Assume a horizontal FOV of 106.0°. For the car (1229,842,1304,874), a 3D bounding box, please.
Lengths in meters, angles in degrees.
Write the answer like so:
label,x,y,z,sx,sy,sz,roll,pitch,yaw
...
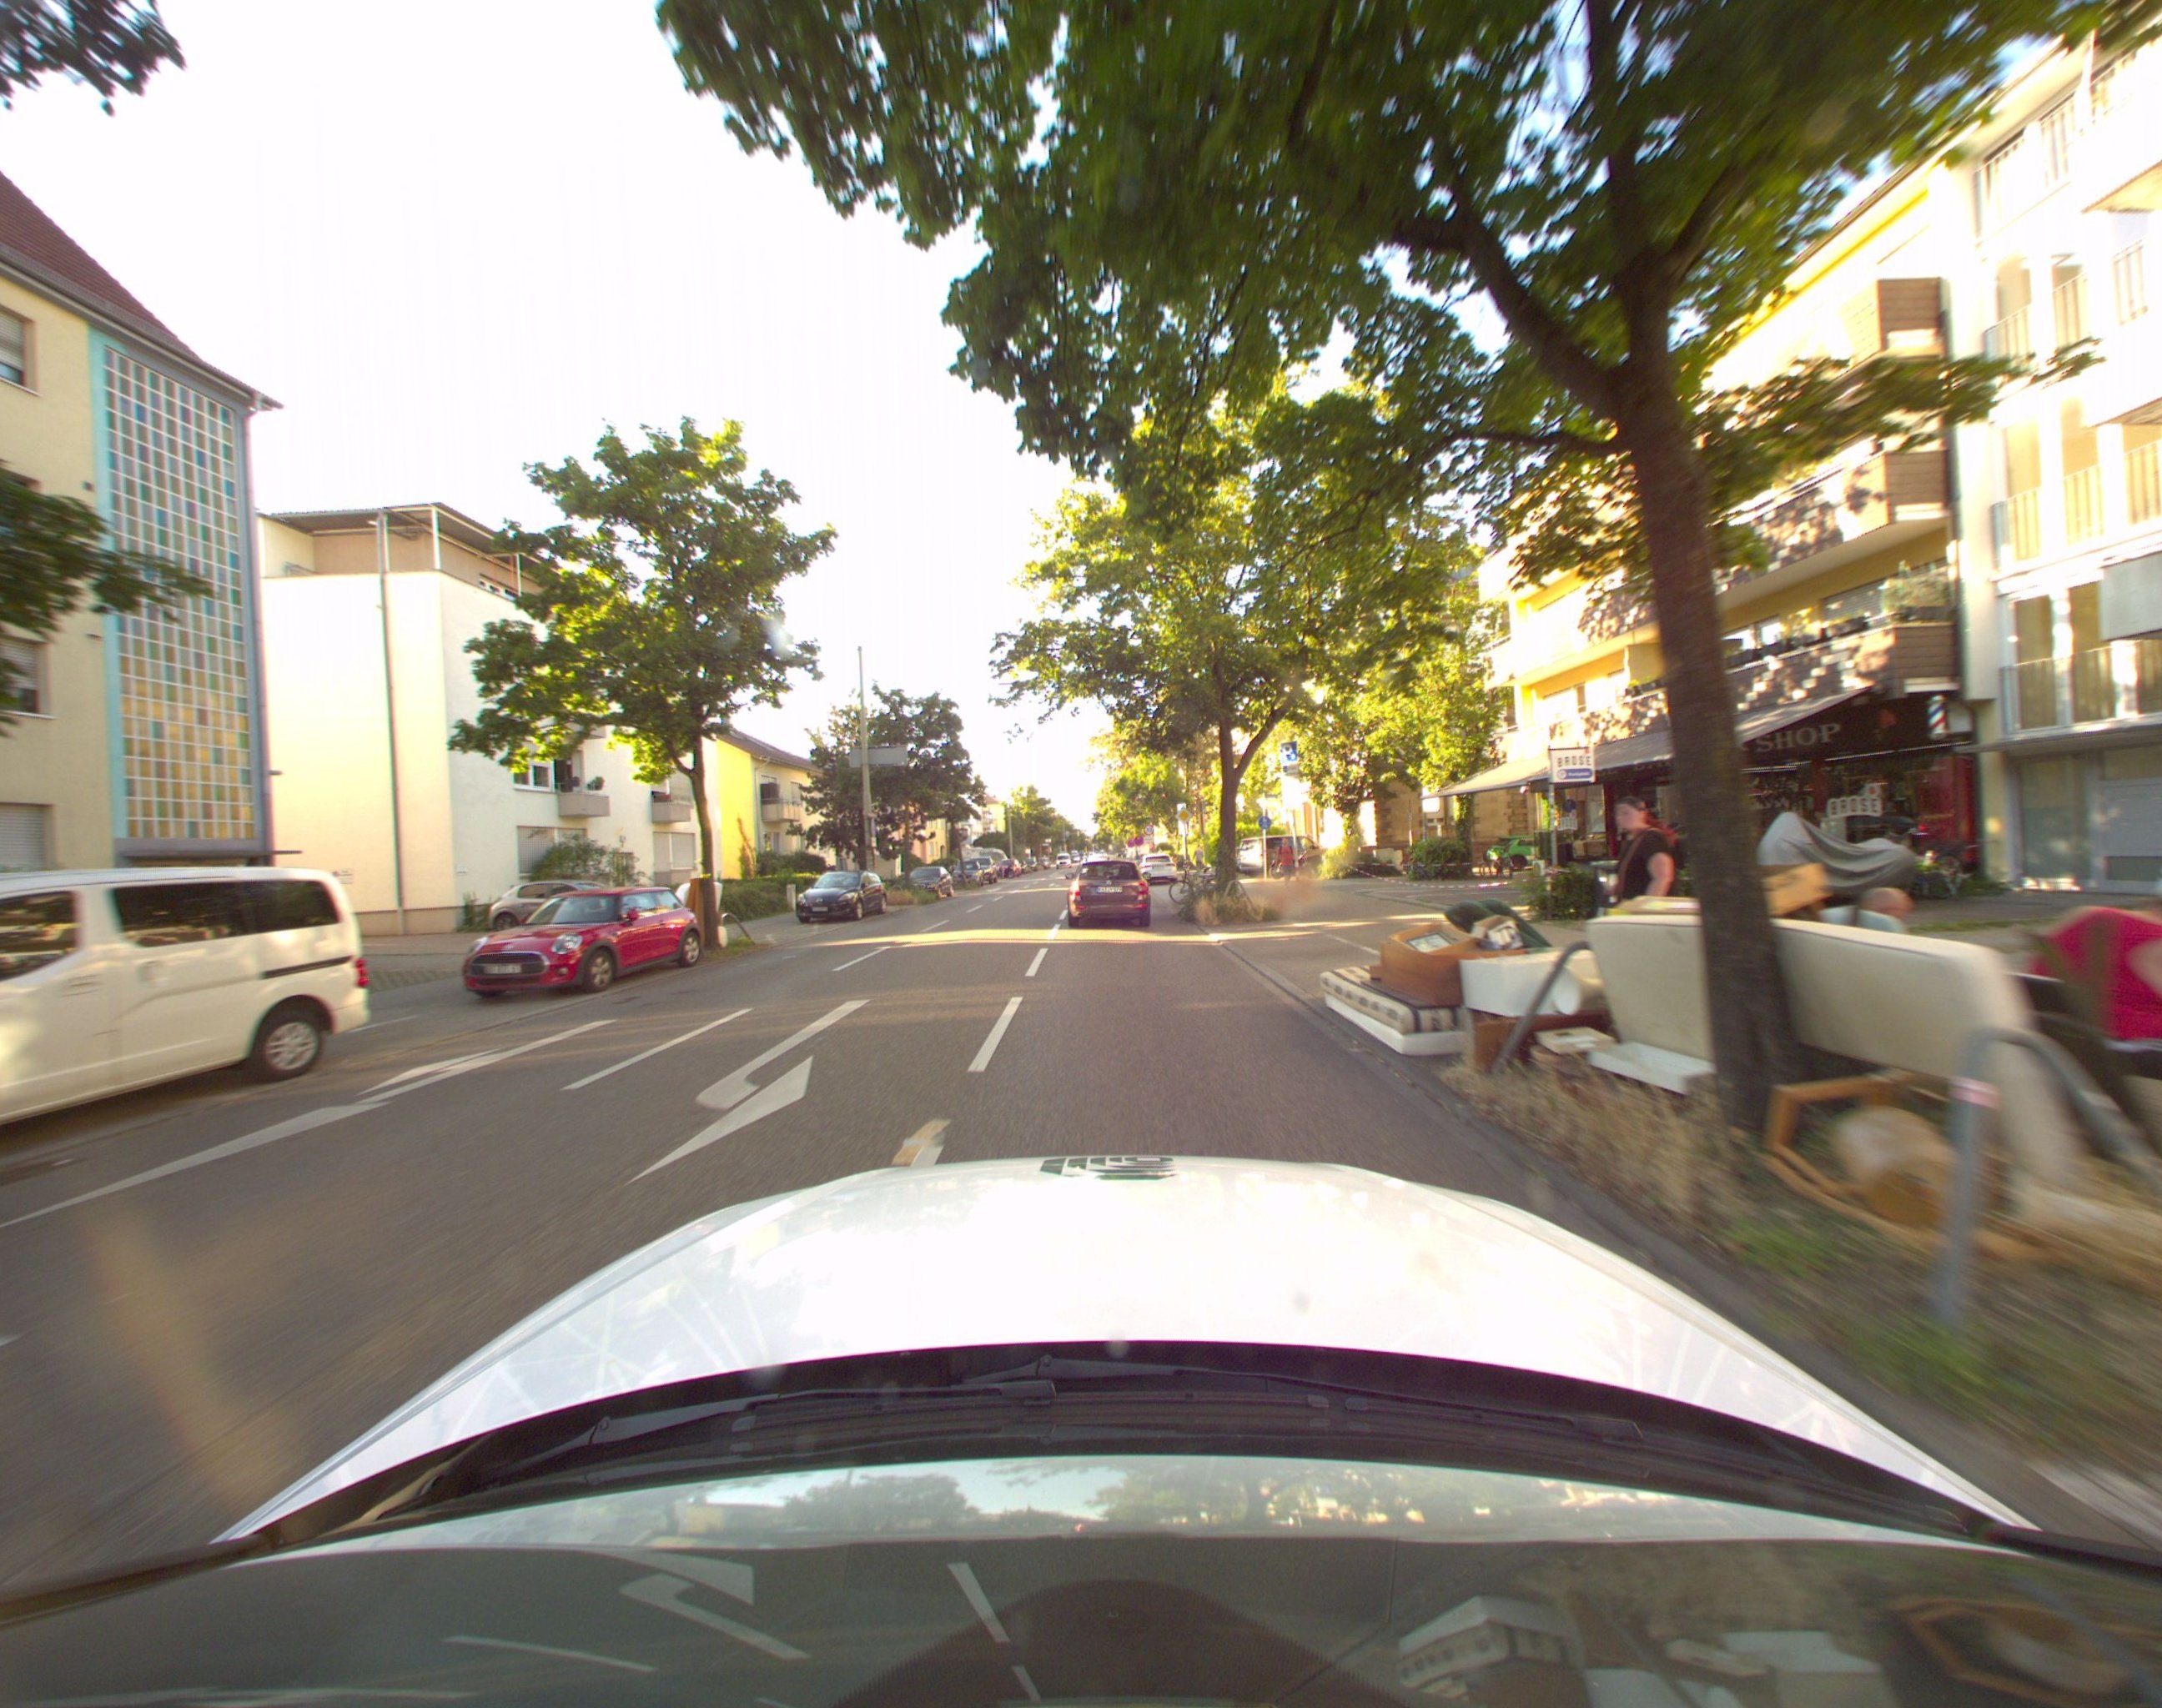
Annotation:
label,x,y,z,sx,sy,sz,roll,pitch,yaw
car,10.285,0.211,45.062,3.814,1.525,1.501,-3,0,-21

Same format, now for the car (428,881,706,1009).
label,x,y,z,sx,sy,sz,roll,pitch,yaw
car,-7.527,1.245,12.437,1.711,1.421,3.787,-3,0,1

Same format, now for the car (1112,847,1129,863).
label,x,y,z,sx,sy,sz,roll,pitch,yaw
car,4.780,0.160,98.872,1.724,1.815,3.950,-3,0,0

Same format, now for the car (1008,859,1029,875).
label,x,y,z,sx,sy,sz,roll,pitch,yaw
car,-6.058,1.246,79.404,1.658,1.432,3.276,-3,0,1

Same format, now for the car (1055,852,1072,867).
label,x,y,z,sx,sy,sz,roll,pitch,yaw
car,-2.169,0.675,101.454,1.870,1.757,4.179,-3,0,1

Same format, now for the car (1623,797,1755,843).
label,x,y,z,sx,sy,sz,roll,pitch,yaw
car,21.289,-1.171,28.594,3.334,1.418,1.661,-3,0,1

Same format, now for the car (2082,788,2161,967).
label,x,y,z,sx,sy,sz,roll,pitch,yaw
car,10.806,0.096,6.312,3.977,1.462,1.823,-3,0,-3

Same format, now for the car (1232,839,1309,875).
label,x,y,z,sx,sy,sz,roll,pitch,yaw
car,9.873,0.147,42.450,3.823,1.679,1.498,-3,0,-29

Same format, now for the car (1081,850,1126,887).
label,x,y,z,sx,sy,sz,roll,pitch,yaw
car,0.971,0.628,37.150,1.725,1.493,3.947,-3,0,-3

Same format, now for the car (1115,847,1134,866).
label,x,y,z,sx,sy,sz,roll,pitch,yaw
car,4.550,0.255,86.379,1.724,1.815,3.950,-3,0,0

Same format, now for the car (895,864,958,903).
label,x,y,z,sx,sy,sz,roll,pitch,yaw
car,-6.722,1.244,35.948,1.747,1.420,4.427,-3,0,2

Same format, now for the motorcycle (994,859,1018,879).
label,x,y,z,sx,sy,sz,roll,pitch,yaw
motorcycle,-5.948,1.192,64.214,0.771,1.512,2.006,-3,0,-42

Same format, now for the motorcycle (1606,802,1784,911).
label,x,y,z,sx,sy,sz,roll,pitch,yaw
motorcycle,9.854,0.044,13.141,2.182,1.621,0.733,-3,0,7

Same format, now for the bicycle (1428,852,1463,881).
label,x,y,z,sx,sy,sz,roll,pitch,yaw
bicycle,12.585,0.428,28.143,0.341,0.950,1.579,-5,0,-4

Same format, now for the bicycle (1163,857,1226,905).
label,x,y,z,sx,sy,sz,roll,pitch,yaw
bicycle,3.270,0.769,23.424,1.659,1.226,0.638,-5,0,13

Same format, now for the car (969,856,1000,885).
label,x,y,z,sx,sy,sz,roll,pitch,yaw
car,-6.358,1.059,53.871,1.501,1.757,3.694,-3,0,1

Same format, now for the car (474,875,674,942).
label,x,y,z,sx,sy,sz,roll,pitch,yaw
car,-13.325,1.397,21.630,3.978,1.479,1.998,-2,0,-3

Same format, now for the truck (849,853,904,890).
label,x,y,z,sx,sy,sz,roll,pitch,yaw
truck,-12.667,1.057,50.644,2.904,2.093,1.546,-3,0,0

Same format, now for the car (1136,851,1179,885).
label,x,y,z,sx,sy,sz,roll,pitch,yaw
car,3.627,0.636,39.179,1.813,1.413,4.115,-3,0,3

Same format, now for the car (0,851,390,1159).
label,x,y,z,sx,sy,sz,roll,pitch,yaw
car,-7.677,0.991,5.662,1.763,1.919,4.461,-3,0,1

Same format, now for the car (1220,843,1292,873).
label,x,y,z,sx,sy,sz,roll,pitch,yaw
car,10.127,0.205,47.187,3.814,1.525,1.501,-3,0,-21

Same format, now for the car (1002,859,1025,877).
label,x,y,z,sx,sy,sz,roll,pitch,yaw
car,-6.184,1.266,74.859,1.658,1.432,3.276,-3,0,1

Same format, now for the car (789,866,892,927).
label,x,y,z,sx,sy,sz,roll,pitch,yaw
car,-7.196,1.214,24.807,1.711,1.497,4.249,-3,0,1

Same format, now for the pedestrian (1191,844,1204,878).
label,x,y,z,sx,sy,sz,roll,pitch,yaw
pedestrian,6.296,0.360,43.953,0.533,1.794,0.688,-3,0,3

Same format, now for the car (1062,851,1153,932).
label,x,y,z,sx,sy,sz,roll,pitch,yaw
car,0.588,0.731,18.049,1.723,1.493,3.953,-3,0,2

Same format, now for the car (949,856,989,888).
label,x,y,z,sx,sy,sz,roll,pitch,yaw
car,-6.736,1.031,49.207,1.744,1.740,3.592,-3,0,1

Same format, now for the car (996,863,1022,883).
label,x,y,z,sx,sy,sz,roll,pitch,yaw
car,-6.087,1.574,69.168,1.658,1.511,4.179,-3,0,1

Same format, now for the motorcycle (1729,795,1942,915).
label,x,y,z,sx,sy,sz,roll,pitch,yaw
motorcycle,11.186,0.017,12.154,2.182,1.621,0.891,-3,0,7

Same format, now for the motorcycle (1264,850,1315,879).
label,x,y,z,sx,sy,sz,roll,pitch,yaw
motorcycle,9.098,0.456,35.491,2.047,1.125,0.524,-3,0,-4

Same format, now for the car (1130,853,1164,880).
label,x,y,z,sx,sy,sz,roll,pitch,yaw
car,3.801,0.694,47.665,1.813,1.413,4.115,-3,0,3

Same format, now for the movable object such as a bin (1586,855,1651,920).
label,x,y,z,sx,sy,sz,roll,pitch,yaw
movable object such as a bin,8.304,0.512,12.592,0.610,0.949,0.540,-3,0,2

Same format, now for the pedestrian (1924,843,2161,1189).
label,x,y,z,sx,sy,sz,roll,pitch,yaw
pedestrian,4.294,0.599,3.396,0.795,1.254,0.700,-3,0,-2

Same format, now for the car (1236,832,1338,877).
label,x,y,z,sx,sy,sz,roll,pitch,yaw
car,9.877,-0.001,39.067,4.558,1.892,1.898,-3,0,-27

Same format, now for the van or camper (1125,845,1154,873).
label,x,y,z,sx,sy,sz,roll,pitch,yaw
van or camper,4.488,0.361,63.076,1.986,2.013,4.001,-3,0,1

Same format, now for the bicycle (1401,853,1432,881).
label,x,y,z,sx,sy,sz,roll,pitch,yaw
bicycle,11.827,0.464,28.737,0.341,0.950,1.579,0,-1,-4

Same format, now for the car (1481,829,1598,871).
label,x,y,z,sx,sy,sz,roll,pitch,yaw
car,19.580,-0.182,34.913,3.903,1.585,1.930,-3,0,1

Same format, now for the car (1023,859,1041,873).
label,x,y,z,sx,sy,sz,roll,pitch,yaw
car,-5.495,1.297,91.088,1.658,1.432,3.276,-3,0,1

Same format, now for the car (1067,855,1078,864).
label,x,y,z,sx,sy,sz,roll,pitch,yaw
car,-1.652,1.034,158.468,1.986,1.508,4.001,-3,0,1

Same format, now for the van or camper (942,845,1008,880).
label,x,y,z,sx,sy,sz,roll,pitch,yaw
van or camper,-13.048,1.053,100.476,7.618,3.874,1.999,-3,0,-1

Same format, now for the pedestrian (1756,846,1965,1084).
label,x,y,z,sx,sy,sz,roll,pitch,yaw
pedestrian,4.493,0.602,4.753,0.647,1.254,0.661,-3,0,23

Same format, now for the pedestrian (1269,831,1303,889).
label,x,y,z,sx,sy,sz,roll,pitch,yaw
pedestrian,6.567,0.191,26.155,0.754,1.796,0.905,-3,0,-4

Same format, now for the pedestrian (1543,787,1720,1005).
label,x,y,z,sx,sy,sz,roll,pitch,yaw
pedestrian,4.047,0.276,5.995,1.065,1.476,0.476,-3,0,-19
